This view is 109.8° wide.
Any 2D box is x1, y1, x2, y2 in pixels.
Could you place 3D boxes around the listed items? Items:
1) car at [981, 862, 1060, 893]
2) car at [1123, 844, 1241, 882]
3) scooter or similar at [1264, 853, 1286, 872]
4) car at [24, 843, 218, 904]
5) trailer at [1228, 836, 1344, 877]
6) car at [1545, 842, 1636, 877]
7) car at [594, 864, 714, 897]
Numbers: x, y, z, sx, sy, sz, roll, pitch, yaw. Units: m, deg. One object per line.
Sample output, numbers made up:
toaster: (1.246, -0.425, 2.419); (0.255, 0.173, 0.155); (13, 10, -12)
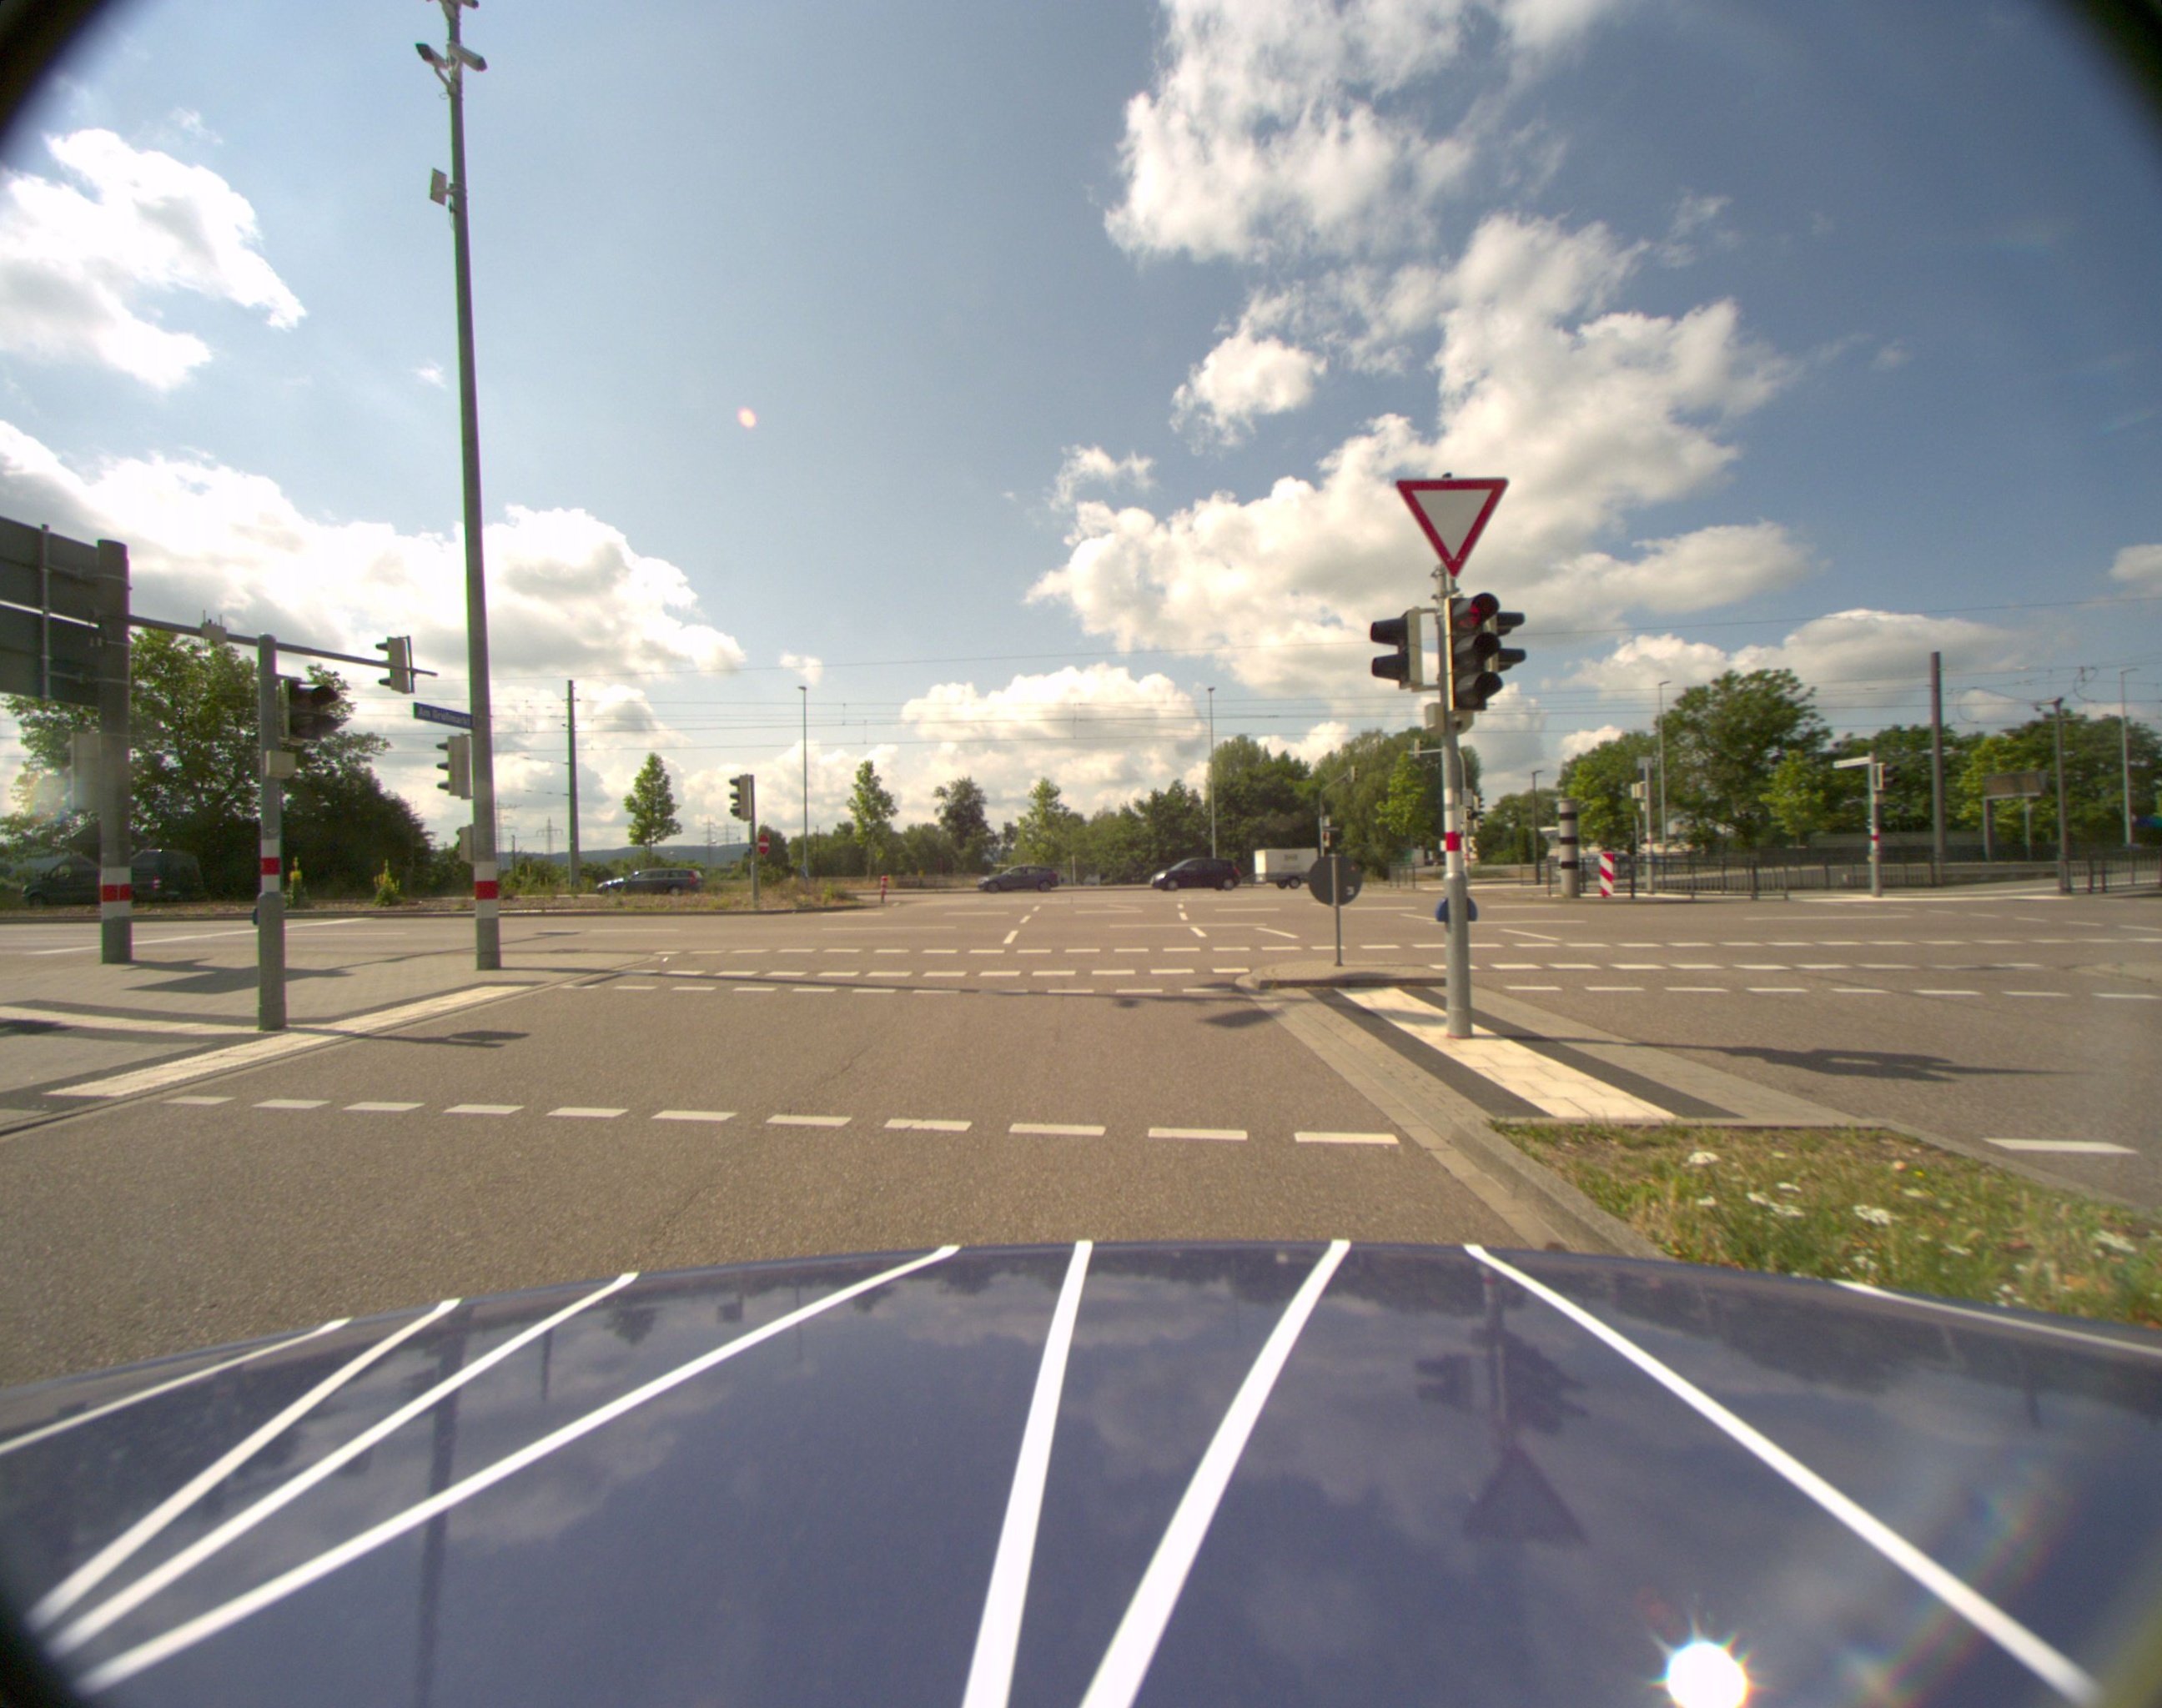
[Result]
car: (-3.231, 1.223, 40.362); (4.069, 1.439, 1.728); (-1, 1, -8)
car: (4.812, 0.416, 36.663); (5.251, 1.564, 1.999); (-2, 0, -6)
scooter or similar: (12.024, 0.537, 47.059); (1.249, 1.092, 0.343); (-2, 0, -2)
car: (-43.692, 0.893, 34.718); (5.675, 2.588, 1.992); (-1, -2, -8)
trailer: (10.041, 0.117, 37.340); (5.181, 1.820, 1.824); (-2, 1, -6)
car: (25.992, 0.265, 38.827); (3.489, 1.448, 1.700); (-4, 3, 1)
car: (-21.034, 1.290, 37.592); (4.783, 1.499, 1.966); (-1, -2, -12)
